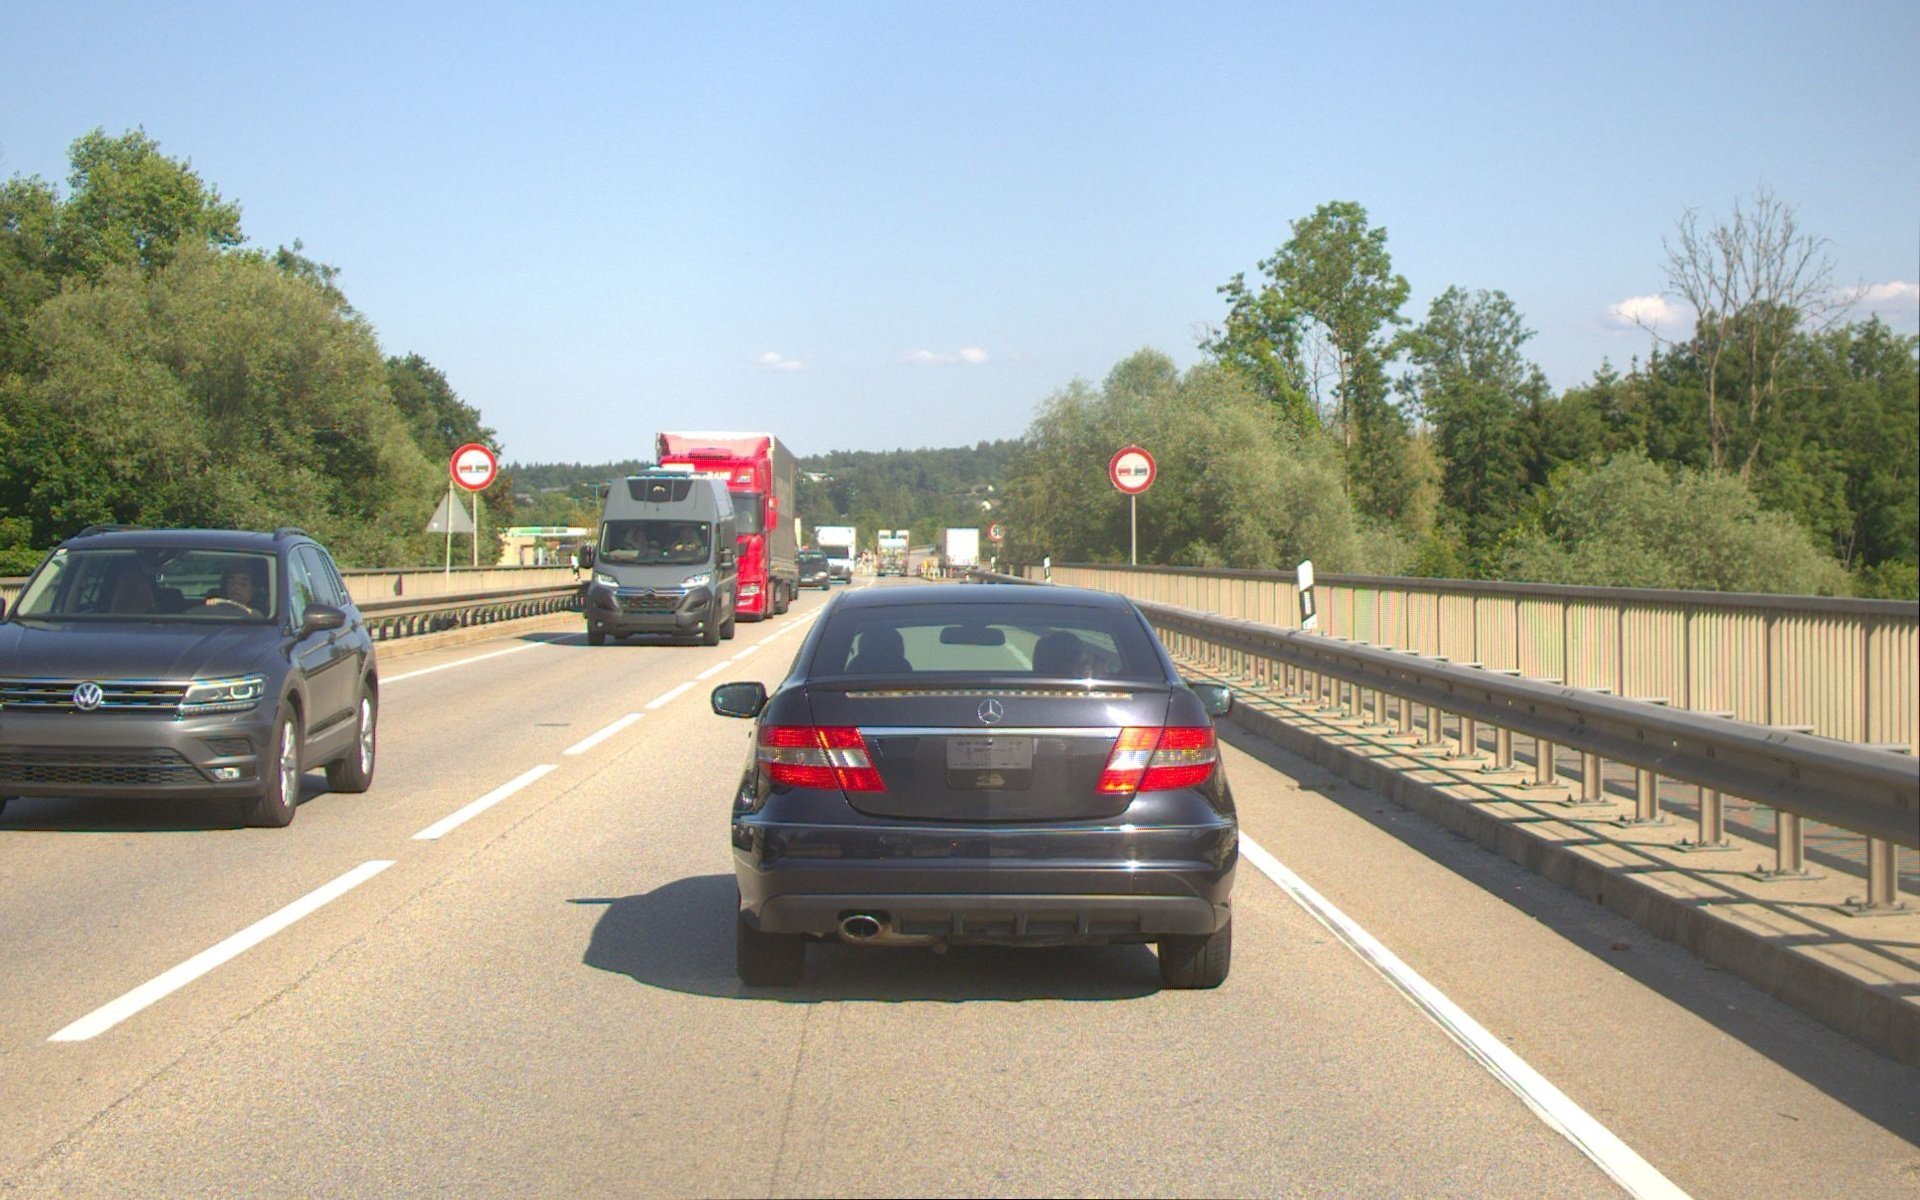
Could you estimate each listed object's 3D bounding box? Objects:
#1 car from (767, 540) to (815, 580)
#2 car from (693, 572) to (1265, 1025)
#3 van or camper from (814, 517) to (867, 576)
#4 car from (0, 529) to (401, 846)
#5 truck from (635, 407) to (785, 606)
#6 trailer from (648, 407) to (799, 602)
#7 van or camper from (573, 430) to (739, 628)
[{"bbox_3d":[-7.202,-1.710,146.266,1.841,1.636,4.578,0,1,-5],"label":"car"},{"bbox_3d":[0.072,0.611,12.846,1.793,1.371,4.000,0,1,0],"label":"car"},{"bbox_3d":[-6.782,-3.082,195.481,2.635,3.244,7.750,0,1,1],"label":"van or camper"},{"bbox_3d":[-4.499,0.402,19.668,1.874,1.578,4.274,1,1,0],"label":"car"},{"bbox_3d":[-5.423,-2.035,75.453,2.908,4.170,5.713,0,1,-1],"label":"truck"},{"bbox_3d":[-5.559,-2.247,83.086,2.907,4.287,14.303,0,1,-1],"label":"trailer"},{"bbox_3d":[-4.909,-1.188,56.440,2.315,3.040,6.818,0,2,-2],"label":"van or camper"}]
